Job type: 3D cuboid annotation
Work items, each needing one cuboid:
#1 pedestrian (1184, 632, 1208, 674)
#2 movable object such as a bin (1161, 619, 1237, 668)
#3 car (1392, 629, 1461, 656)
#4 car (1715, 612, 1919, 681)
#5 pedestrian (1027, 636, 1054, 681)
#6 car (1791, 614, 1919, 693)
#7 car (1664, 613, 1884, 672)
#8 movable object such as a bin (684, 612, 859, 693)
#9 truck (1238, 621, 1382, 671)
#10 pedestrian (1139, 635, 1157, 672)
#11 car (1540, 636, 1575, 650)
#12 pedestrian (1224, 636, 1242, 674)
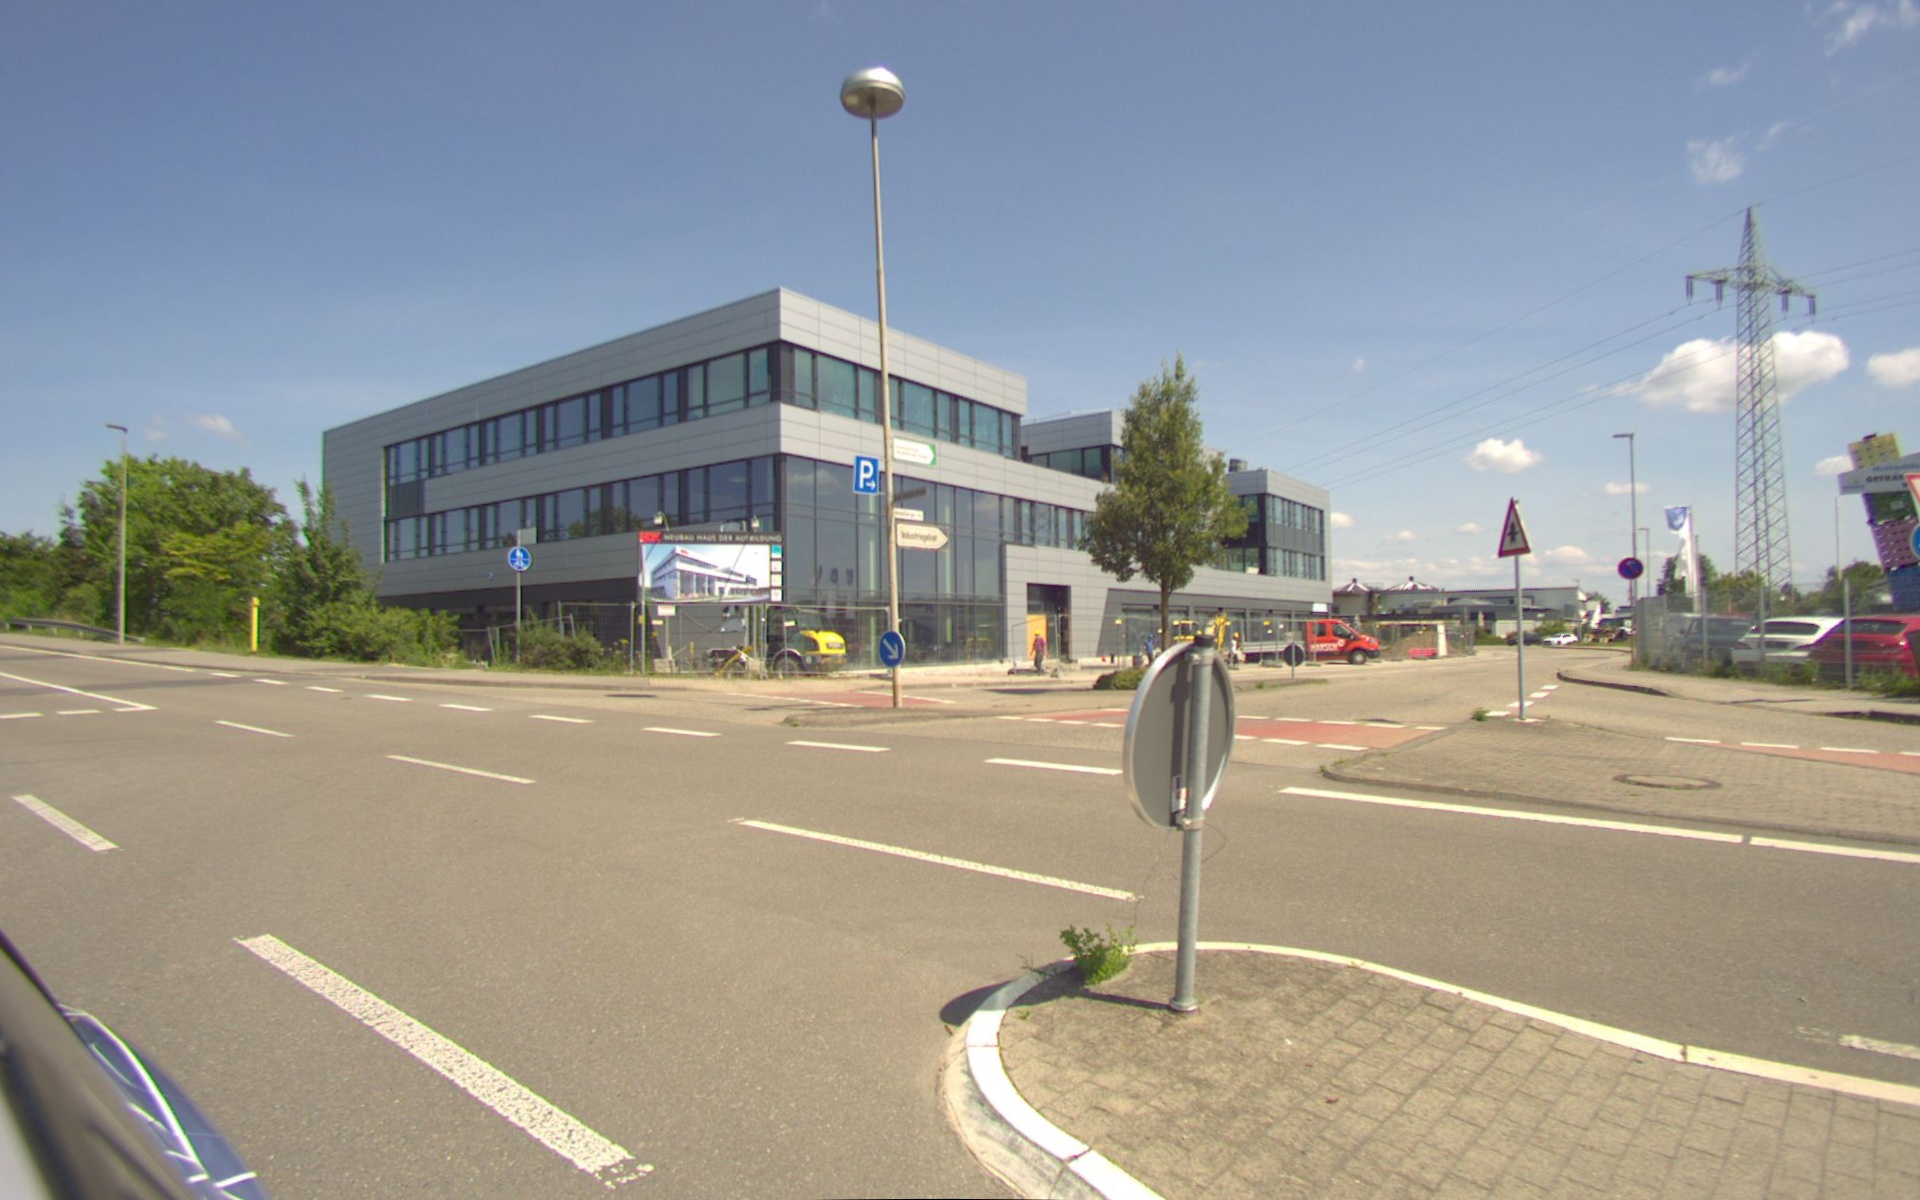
[{"bbox_3d":[10.971,2.447,46.980,0.898,1.893,0.701,-2,-2,28],"label":"pedestrian"},{"bbox_3d":[13.036,2.306,54.840,3.359,2.471,6.334,-1,-2,19],"label":"movable object such as a bin"},{"bbox_3d":[30.955,2.824,67.117,3.985,1.741,1.979,-1,-2,31],"label":"car"},{"bbox_3d":[18.049,0.938,21.075,3.679,1.331,1.906,0,-2,-18],"label":"car"},{"bbox_3d":[3.120,2.264,39.299,0.773,1.741,0.773,-2,-2,35],"label":"pedestrian"},{"bbox_3d":[17.841,0.940,18.690,3.931,1.331,2.006,0,-2,-18],"label":"car"},{"bbox_3d":[19.507,0.998,24.346,3.934,1.331,2.004,0,-2,-11],"label":"car"},{"bbox_3d":[-6.095,1.650,32.497,5.436,2.428,2.151,-1,-2,29],"label":"movable object such as a bin"},{"bbox_3d":[16.260,2.144,47.391,6.092,2.251,2.361,-1,-2,13],"label":"truck"},{"bbox_3d":[8.987,2.547,48.280,0.532,1.741,0.765,-2,-2,37],"label":"pedestrian"},{"bbox_3d":[70.596,5.089,119.628,3.511,1.630,1.843,0,-2,-23],"label":"car"},{"bbox_3d":[12.470,2.501,46.247,0.713,1.741,0.771,-1,-2,13],"label":"pedestrian"}]
